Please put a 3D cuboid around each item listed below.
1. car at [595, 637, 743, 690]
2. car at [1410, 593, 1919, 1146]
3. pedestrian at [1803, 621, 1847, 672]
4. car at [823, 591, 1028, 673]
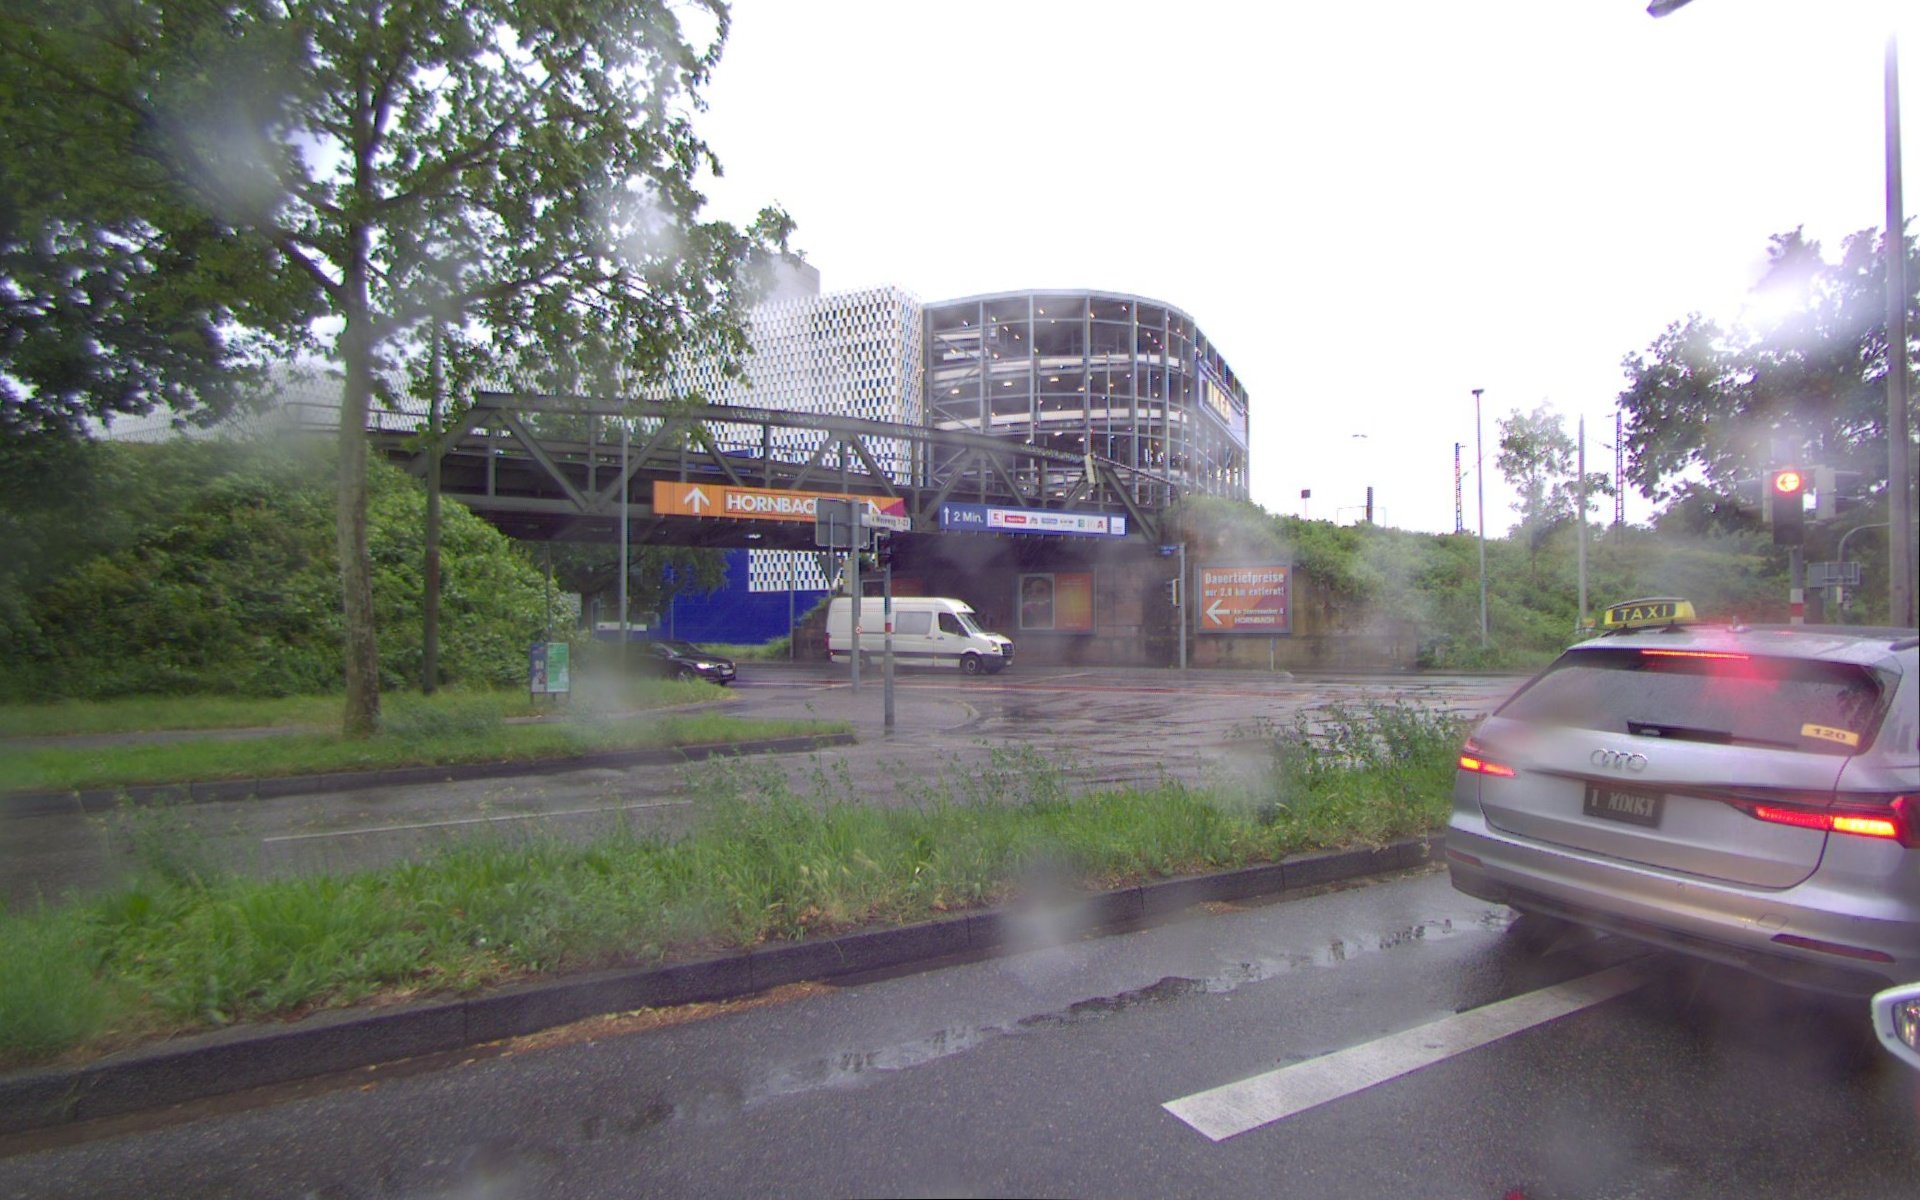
[{"bbox_3d":[-8.654,1.856,29.897,4.067,1.453,1.693,-1,-1,23],"label":"car"},{"bbox_3d":[4.435,0.813,4.822,4.766,1.595,1.760,1,0,-31],"label":"car"},{"bbox_3d":[32.378,1.739,37.594,1.122,1.871,1.092,2,-2,-41],"label":"pedestrian"},{"bbox_3d":[-1.232,1.128,35.165,6.847,2.645,2.386,-1,-2,25],"label":"car"}]
